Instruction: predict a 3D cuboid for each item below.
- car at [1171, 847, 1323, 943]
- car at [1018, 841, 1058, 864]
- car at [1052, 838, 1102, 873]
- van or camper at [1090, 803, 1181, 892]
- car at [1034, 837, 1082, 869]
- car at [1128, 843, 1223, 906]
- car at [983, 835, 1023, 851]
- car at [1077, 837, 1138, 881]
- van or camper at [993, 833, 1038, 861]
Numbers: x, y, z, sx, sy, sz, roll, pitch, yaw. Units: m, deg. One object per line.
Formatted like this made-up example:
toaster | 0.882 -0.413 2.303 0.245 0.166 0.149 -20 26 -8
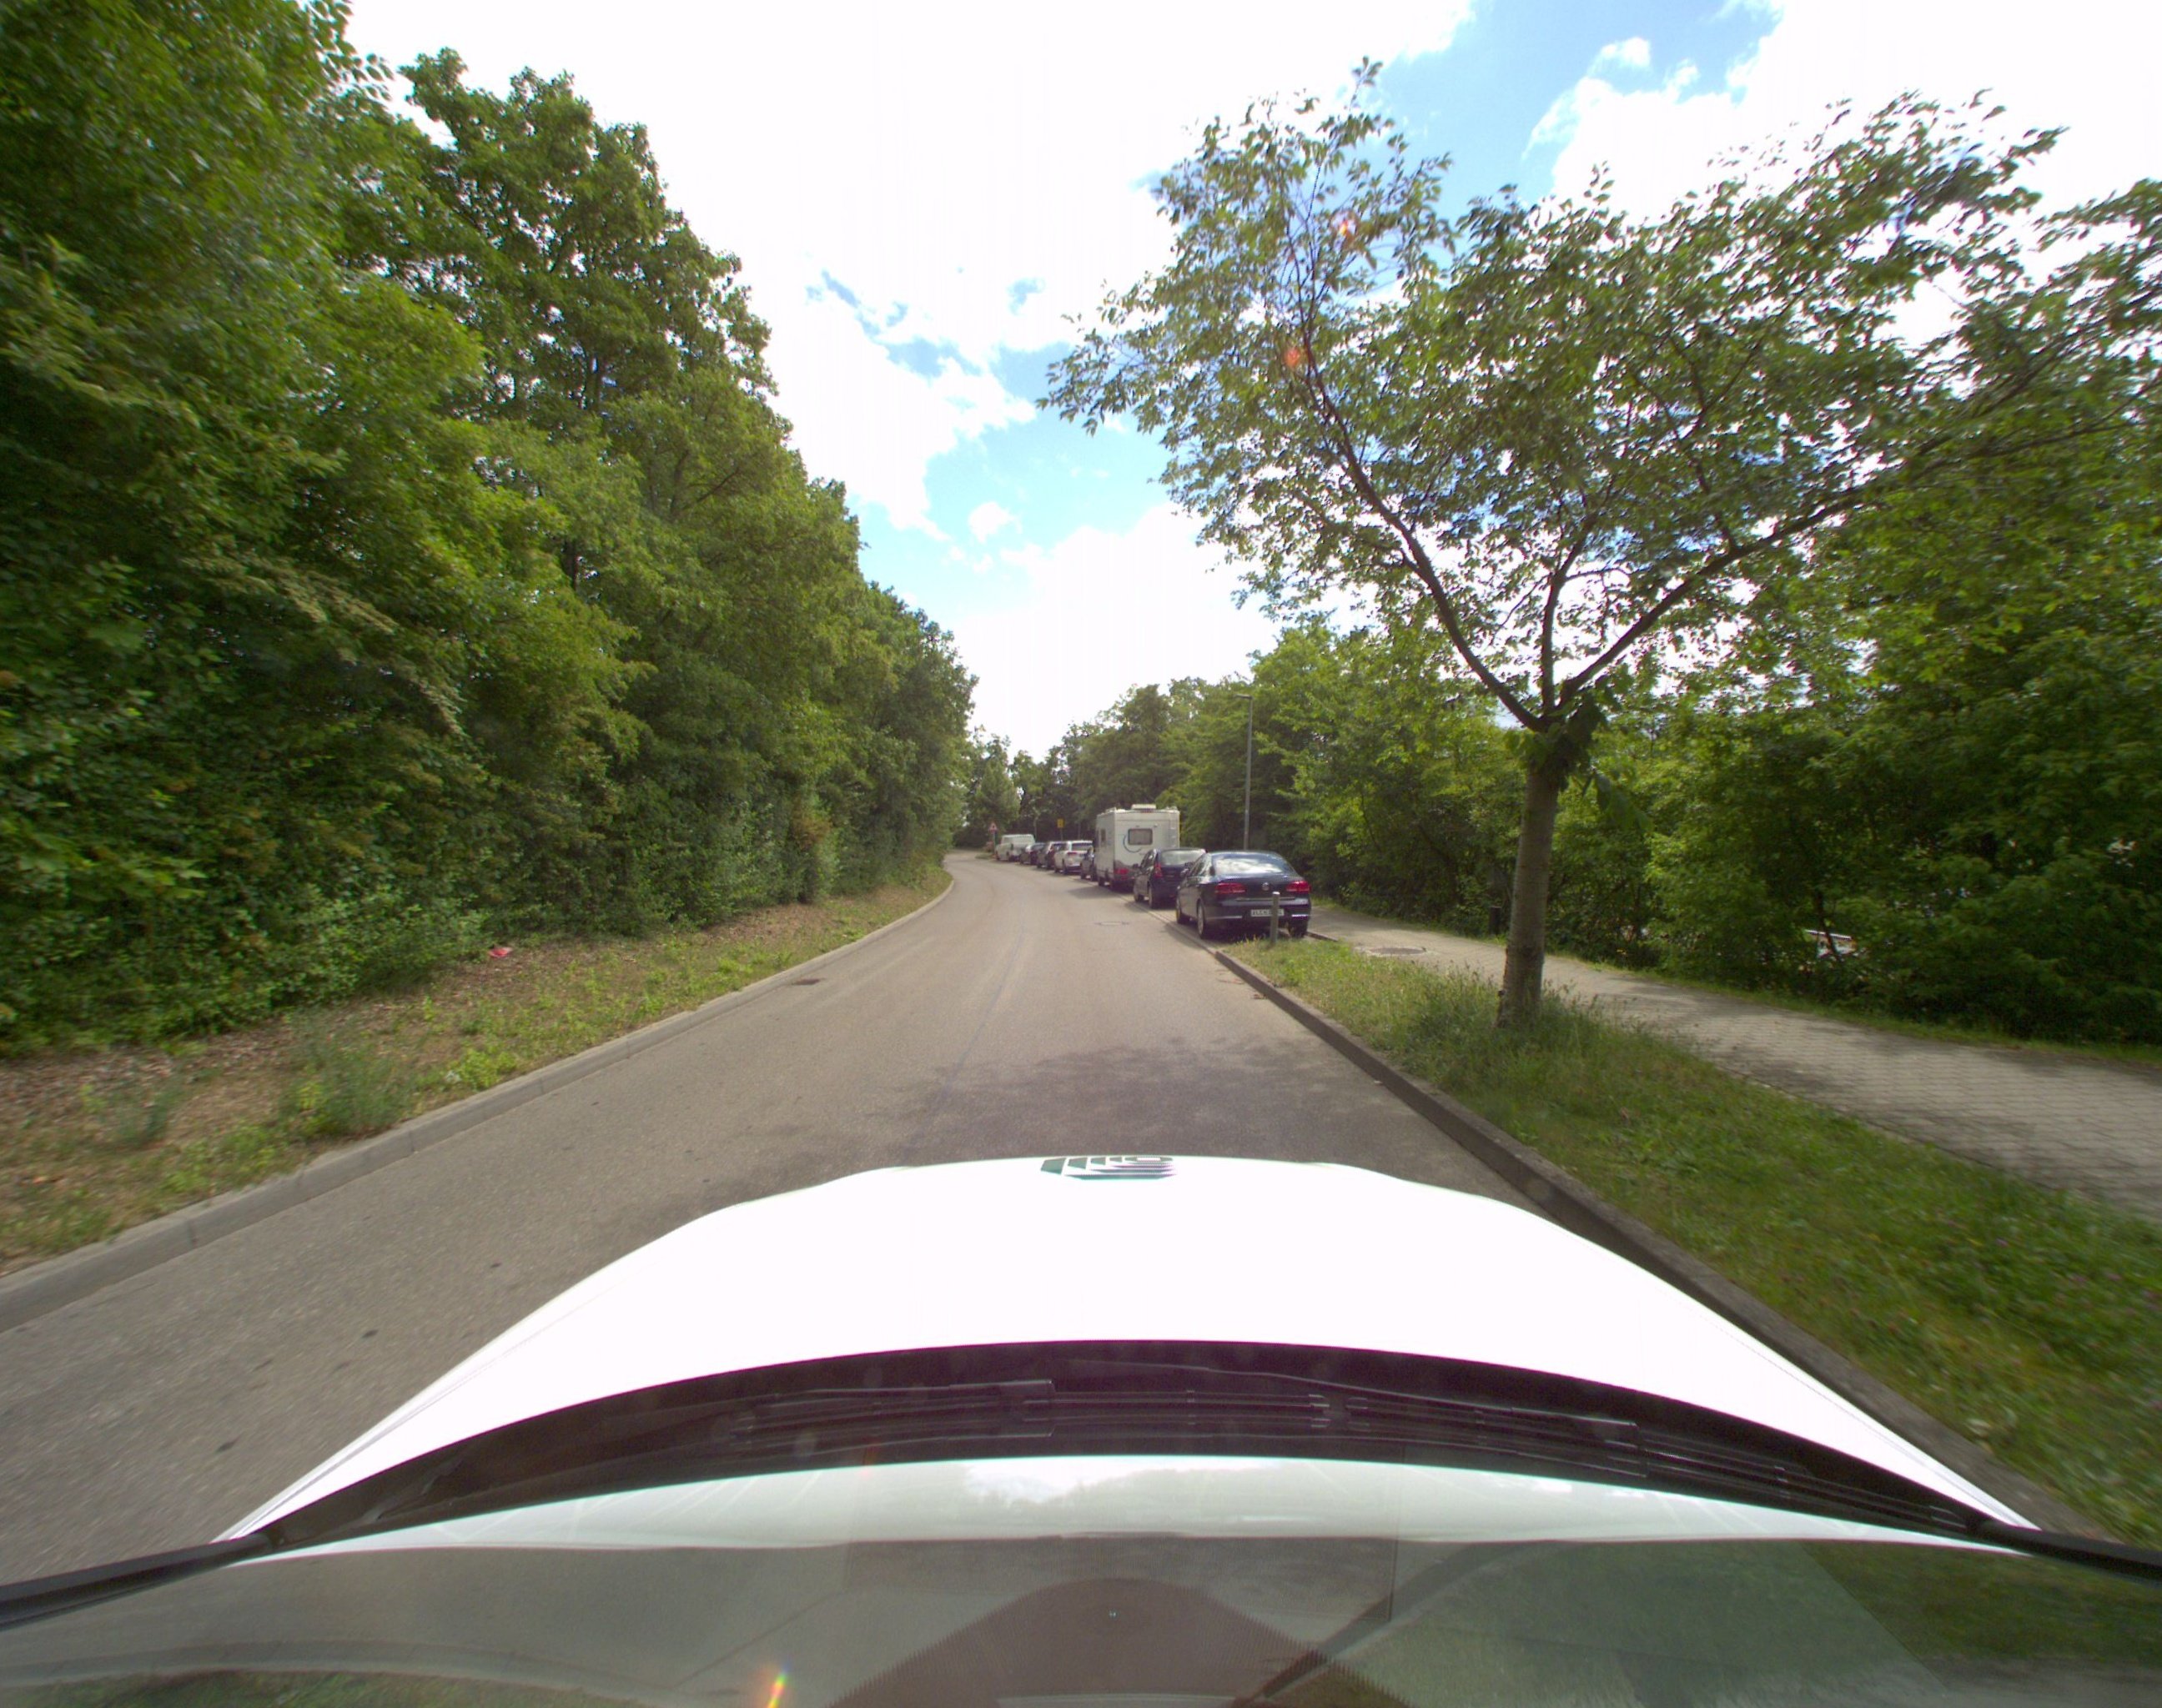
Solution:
car | 2.812 0.614 14.785 1.771 1.434 4.331 -1 1 -1
car | -2.957 -0.101 54.990 1.802 1.464 3.977 -1 1 -17
car | -0.274 0.041 42.704 1.872 1.689 4.563 0 1 -10
van or camper | 1.810 -0.251 29.533 2.329 2.869 6.138 0 1 -6
car | -1.433 -0.107 48.424 1.996 1.626 4.260 -3 2 -13
car | 2.430 0.518 21.930 1.726 1.519 3.881 -1 0 -6
car | -7.637 -1.084 79.565 3.545 1.480 1.772 -1 3 -18
car | 1.101 0.182 35.661 1.711 1.591 3.986 -7 2 -10
van or camper | -4.942 -0.553 60.603 2.001 1.919 5.230 -2 2 -20
